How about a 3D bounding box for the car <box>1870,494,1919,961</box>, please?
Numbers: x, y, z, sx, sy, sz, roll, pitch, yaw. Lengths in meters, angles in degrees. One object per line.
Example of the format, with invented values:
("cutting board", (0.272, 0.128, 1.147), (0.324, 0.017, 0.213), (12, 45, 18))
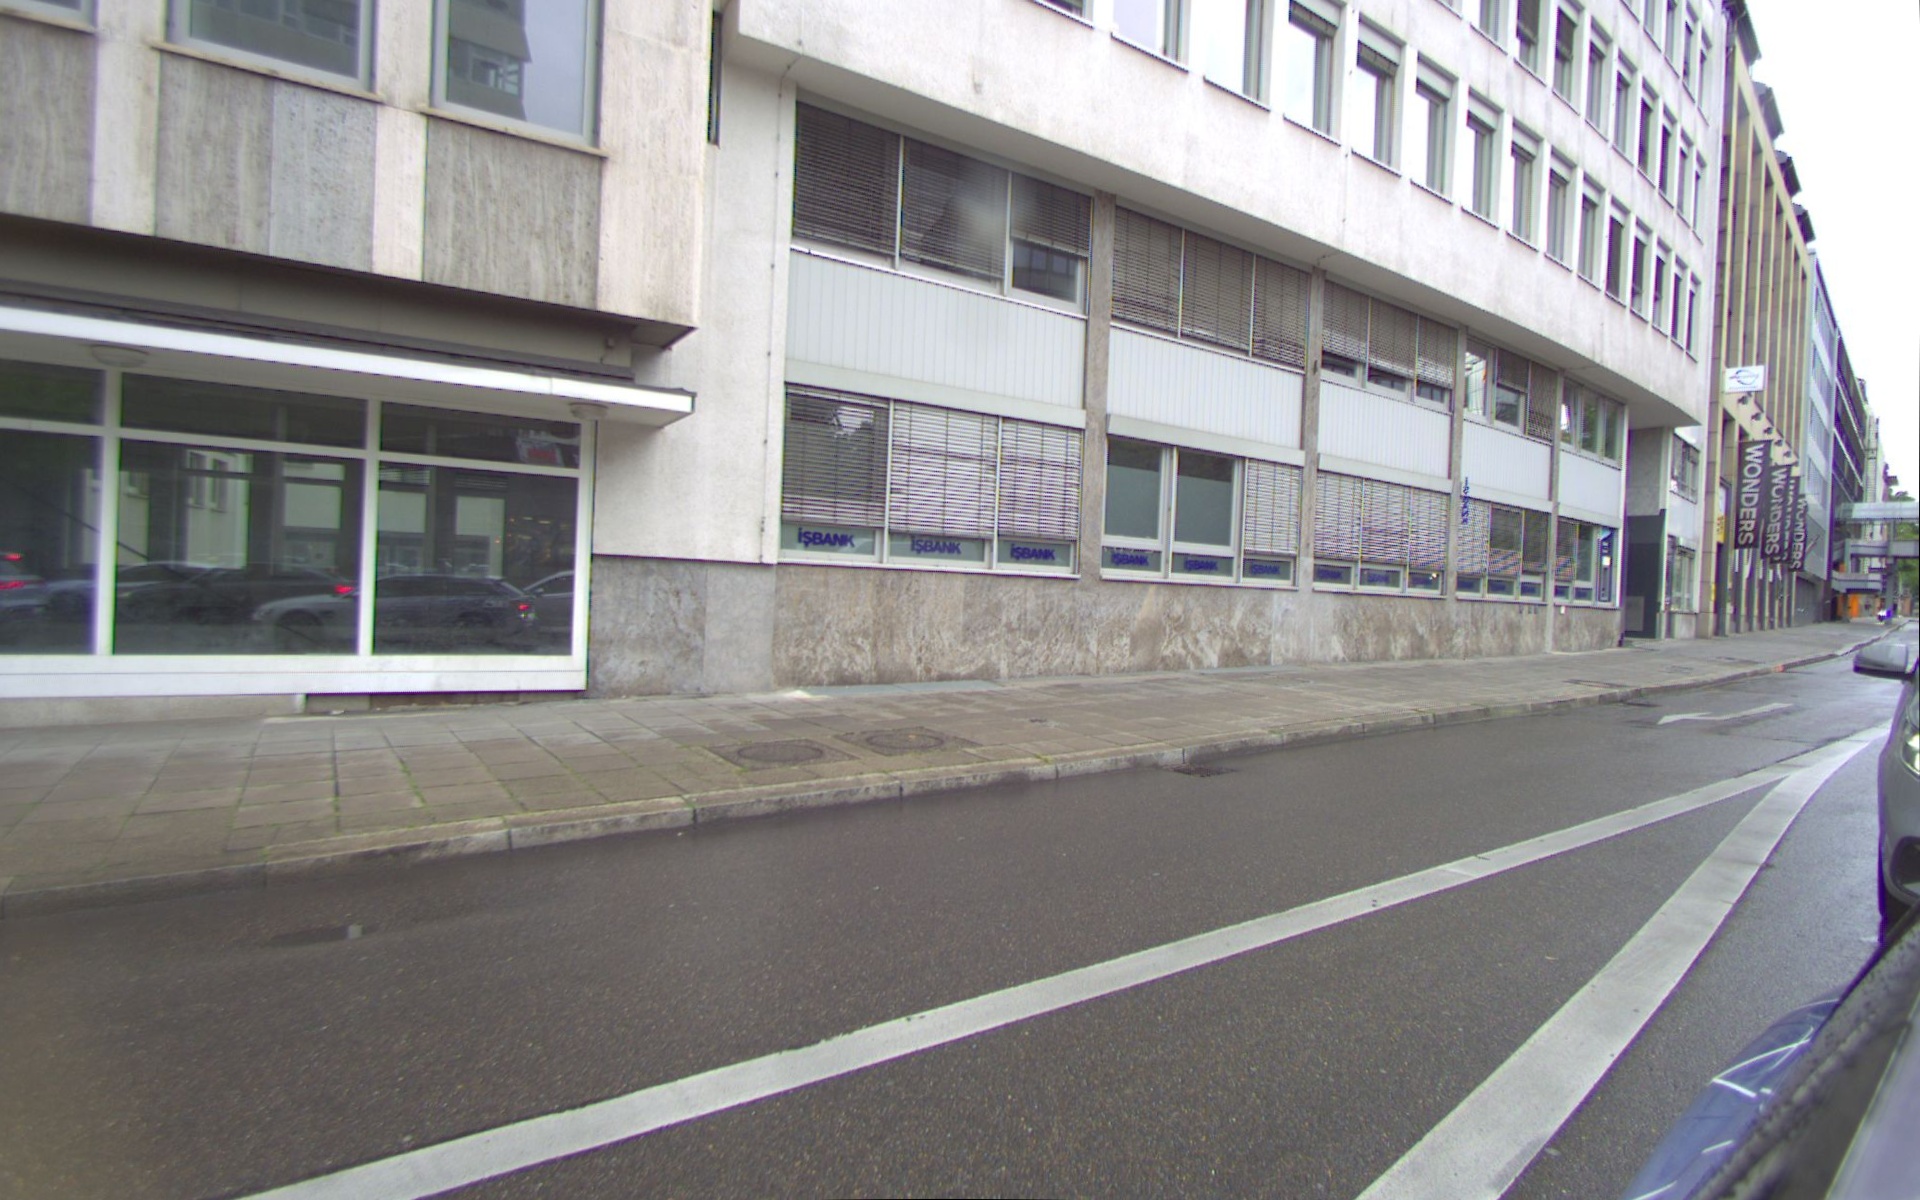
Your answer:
("car", (6.225, 0.525, 5.126), (4.940, 1.879, 1.914), (0, 0, -42))
